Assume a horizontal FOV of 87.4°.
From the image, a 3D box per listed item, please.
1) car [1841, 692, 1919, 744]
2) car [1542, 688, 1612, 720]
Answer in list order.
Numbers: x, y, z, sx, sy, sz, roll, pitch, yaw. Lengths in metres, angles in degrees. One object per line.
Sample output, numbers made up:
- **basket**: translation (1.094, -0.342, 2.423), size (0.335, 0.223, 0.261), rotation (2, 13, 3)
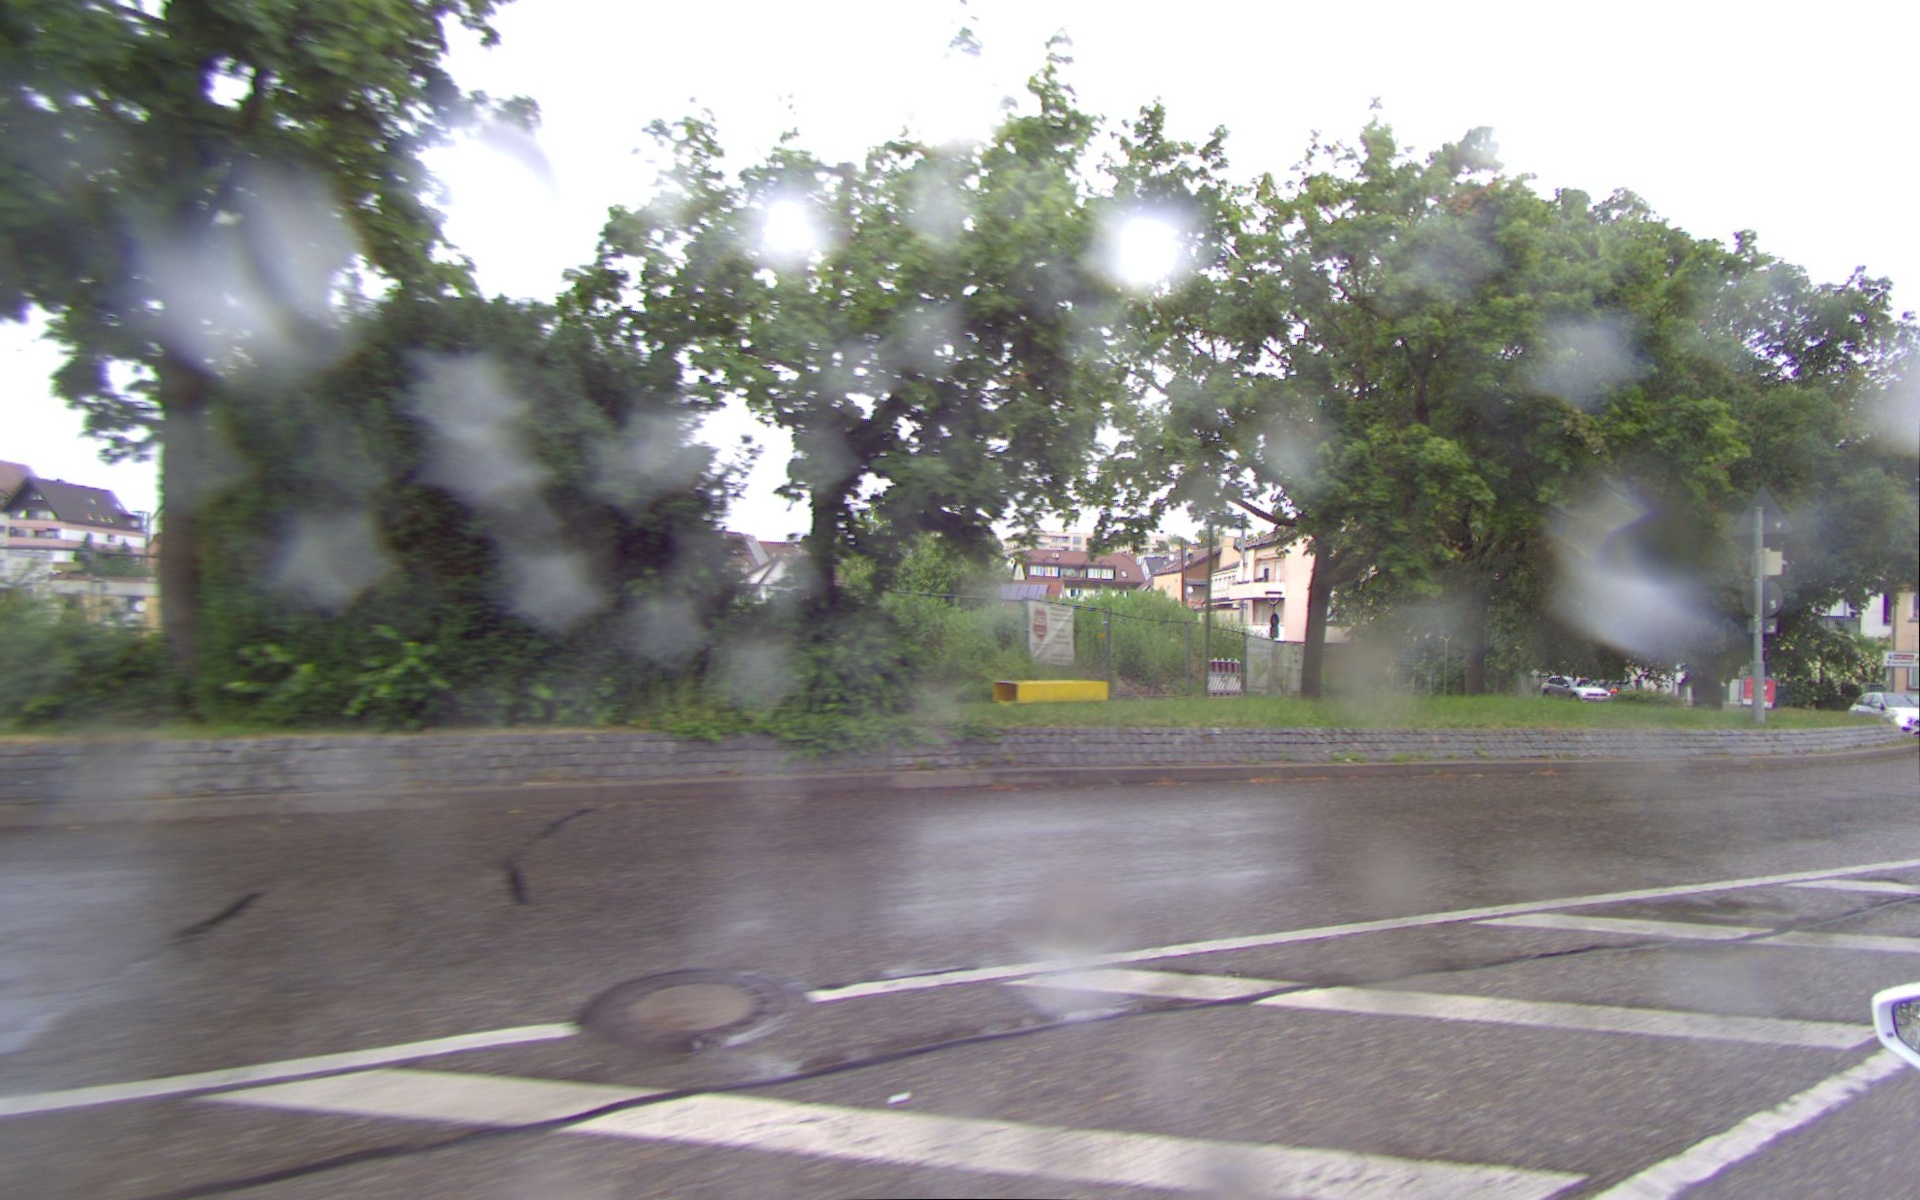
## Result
- **car**: translation (30.391, 3.788, 32.491), size (1.696, 1.524, 4.257), rotation (0, -4, 25)
- **car**: translation (35.376, 5.939, 57.702), size (1.861, 1.611, 3.690), rotation (1, -2, 2)
